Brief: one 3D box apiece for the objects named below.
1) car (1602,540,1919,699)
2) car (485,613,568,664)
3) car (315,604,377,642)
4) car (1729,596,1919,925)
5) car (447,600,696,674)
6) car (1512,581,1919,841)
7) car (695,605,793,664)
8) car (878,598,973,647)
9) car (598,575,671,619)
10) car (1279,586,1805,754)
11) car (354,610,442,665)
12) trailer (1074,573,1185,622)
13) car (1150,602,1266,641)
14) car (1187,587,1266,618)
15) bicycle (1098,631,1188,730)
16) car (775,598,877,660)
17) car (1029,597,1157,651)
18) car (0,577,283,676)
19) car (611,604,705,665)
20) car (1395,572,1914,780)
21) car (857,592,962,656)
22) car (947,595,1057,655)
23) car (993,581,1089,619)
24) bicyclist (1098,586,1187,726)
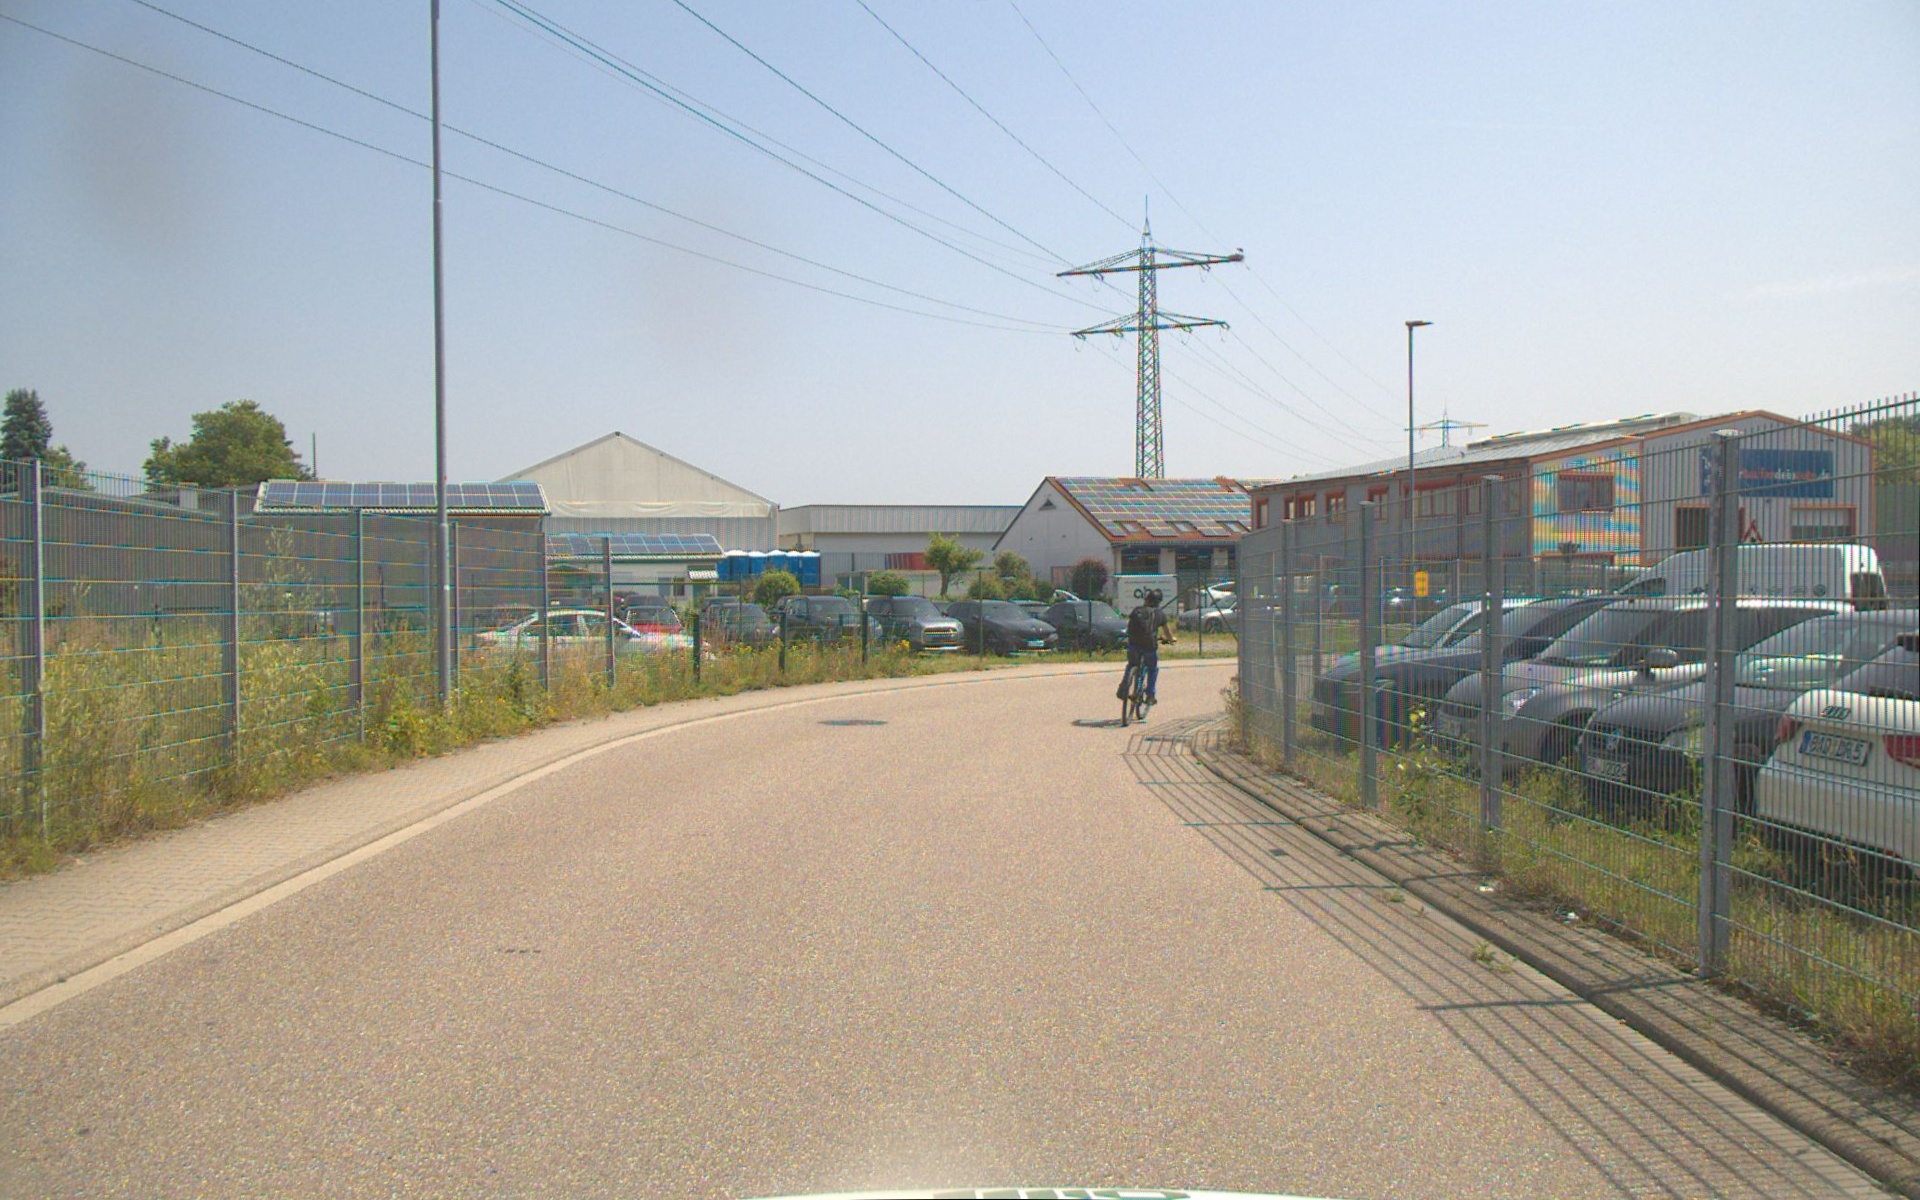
[{"bbox_3d":[12.578,0.262,24.771,1.891,2.186,5.261,0,0,-42],"label":"car"},{"bbox_3d":[-12.299,1.057,46.817,1.837,1.321,3.417,0,0,-22],"label":"car"},{"bbox_3d":[-20.372,0.727,54.900,1.835,1.196,4.576,0,0,-20],"label":"car"},{"bbox_3d":[5.853,0.815,8.004,3.454,1.413,1.635,4,0,-4],"label":"car"},{"bbox_3d":[-7.443,0.671,31.669,4.481,1.330,1.857,0,0,-21],"label":"car"},{"bbox_3d":[5.675,0.666,10.728,3.581,1.503,1.748,0,-2,-9],"label":"car"},{"bbox_3d":[-5.785,0.883,44.052,1.835,1.458,3.627,0,0,-20],"label":"car"},{"bbox_3d":[-1.149,0.673,52.681,1.963,1.445,3.979,-1,1,-18],"label":"car"},{"bbox_3d":[-11.529,-0.107,58.335,1.835,1.458,4.576,0,0,-20],"label":"car"},{"bbox_3d":[5.481,0.635,15.986,4.444,1.500,1.825,0,0,0],"label":"car"},{"bbox_3d":[-15.782,1.015,46.357,1.841,1.439,3.410,0,0,-28],"label":"car"},{"bbox_3d":[7.111,-0.108,69.531,4.362,1.979,1.712,-1,0,-6],"label":"trailer"},{"bbox_3d":[8.867,0.752,59.138,4.070,1.283,1.227,-1,0,-22],"label":"car"},{"bbox_3d":[13.844,0.112,85.833,3.839,1.542,1.498,-1,0,-22],"label":"car"},{"bbox_3d":[2.276,0.959,20.338,0.671,1.069,1.901,1,1,20],"label":"bicycle"},{"bbox_3d":[-3.667,0.744,44.825,1.835,1.588,3.674,0,0,-20],"label":"car"},{"bbox_3d":[3.813,0.659,48.202,1.966,1.460,4.637,0,0,-20],"label":"car"},{"bbox_3d":[-14.013,0.416,28.328,4.359,1.589,2.030,0,0,-20],"label":"car"},{"bbox_3d":[-7.889,0.862,42.995,1.835,1.479,3.420,0,0,-21],"label":"car"},{"bbox_3d":[5.485,0.560,13.329,3.469,1.528,1.710,0,0,-4],"label":"car"},{"bbox_3d":[-1.430,0.623,45.629,1.835,1.672,3.612,0,0,-20],"label":"car"},{"bbox_3d":[1.124,0.661,46.044,1.835,1.581,3.747,0,0,-20],"label":"car"},{"bbox_3d":[3.650,-0.005,74.382,3.927,1.626,1.867,0,0,-19],"label":"car"},{"bbox_3d":[2.237,0.657,20.193,0.825,1.647,1.039,1,0,21],"label":"bicyclist"}]
